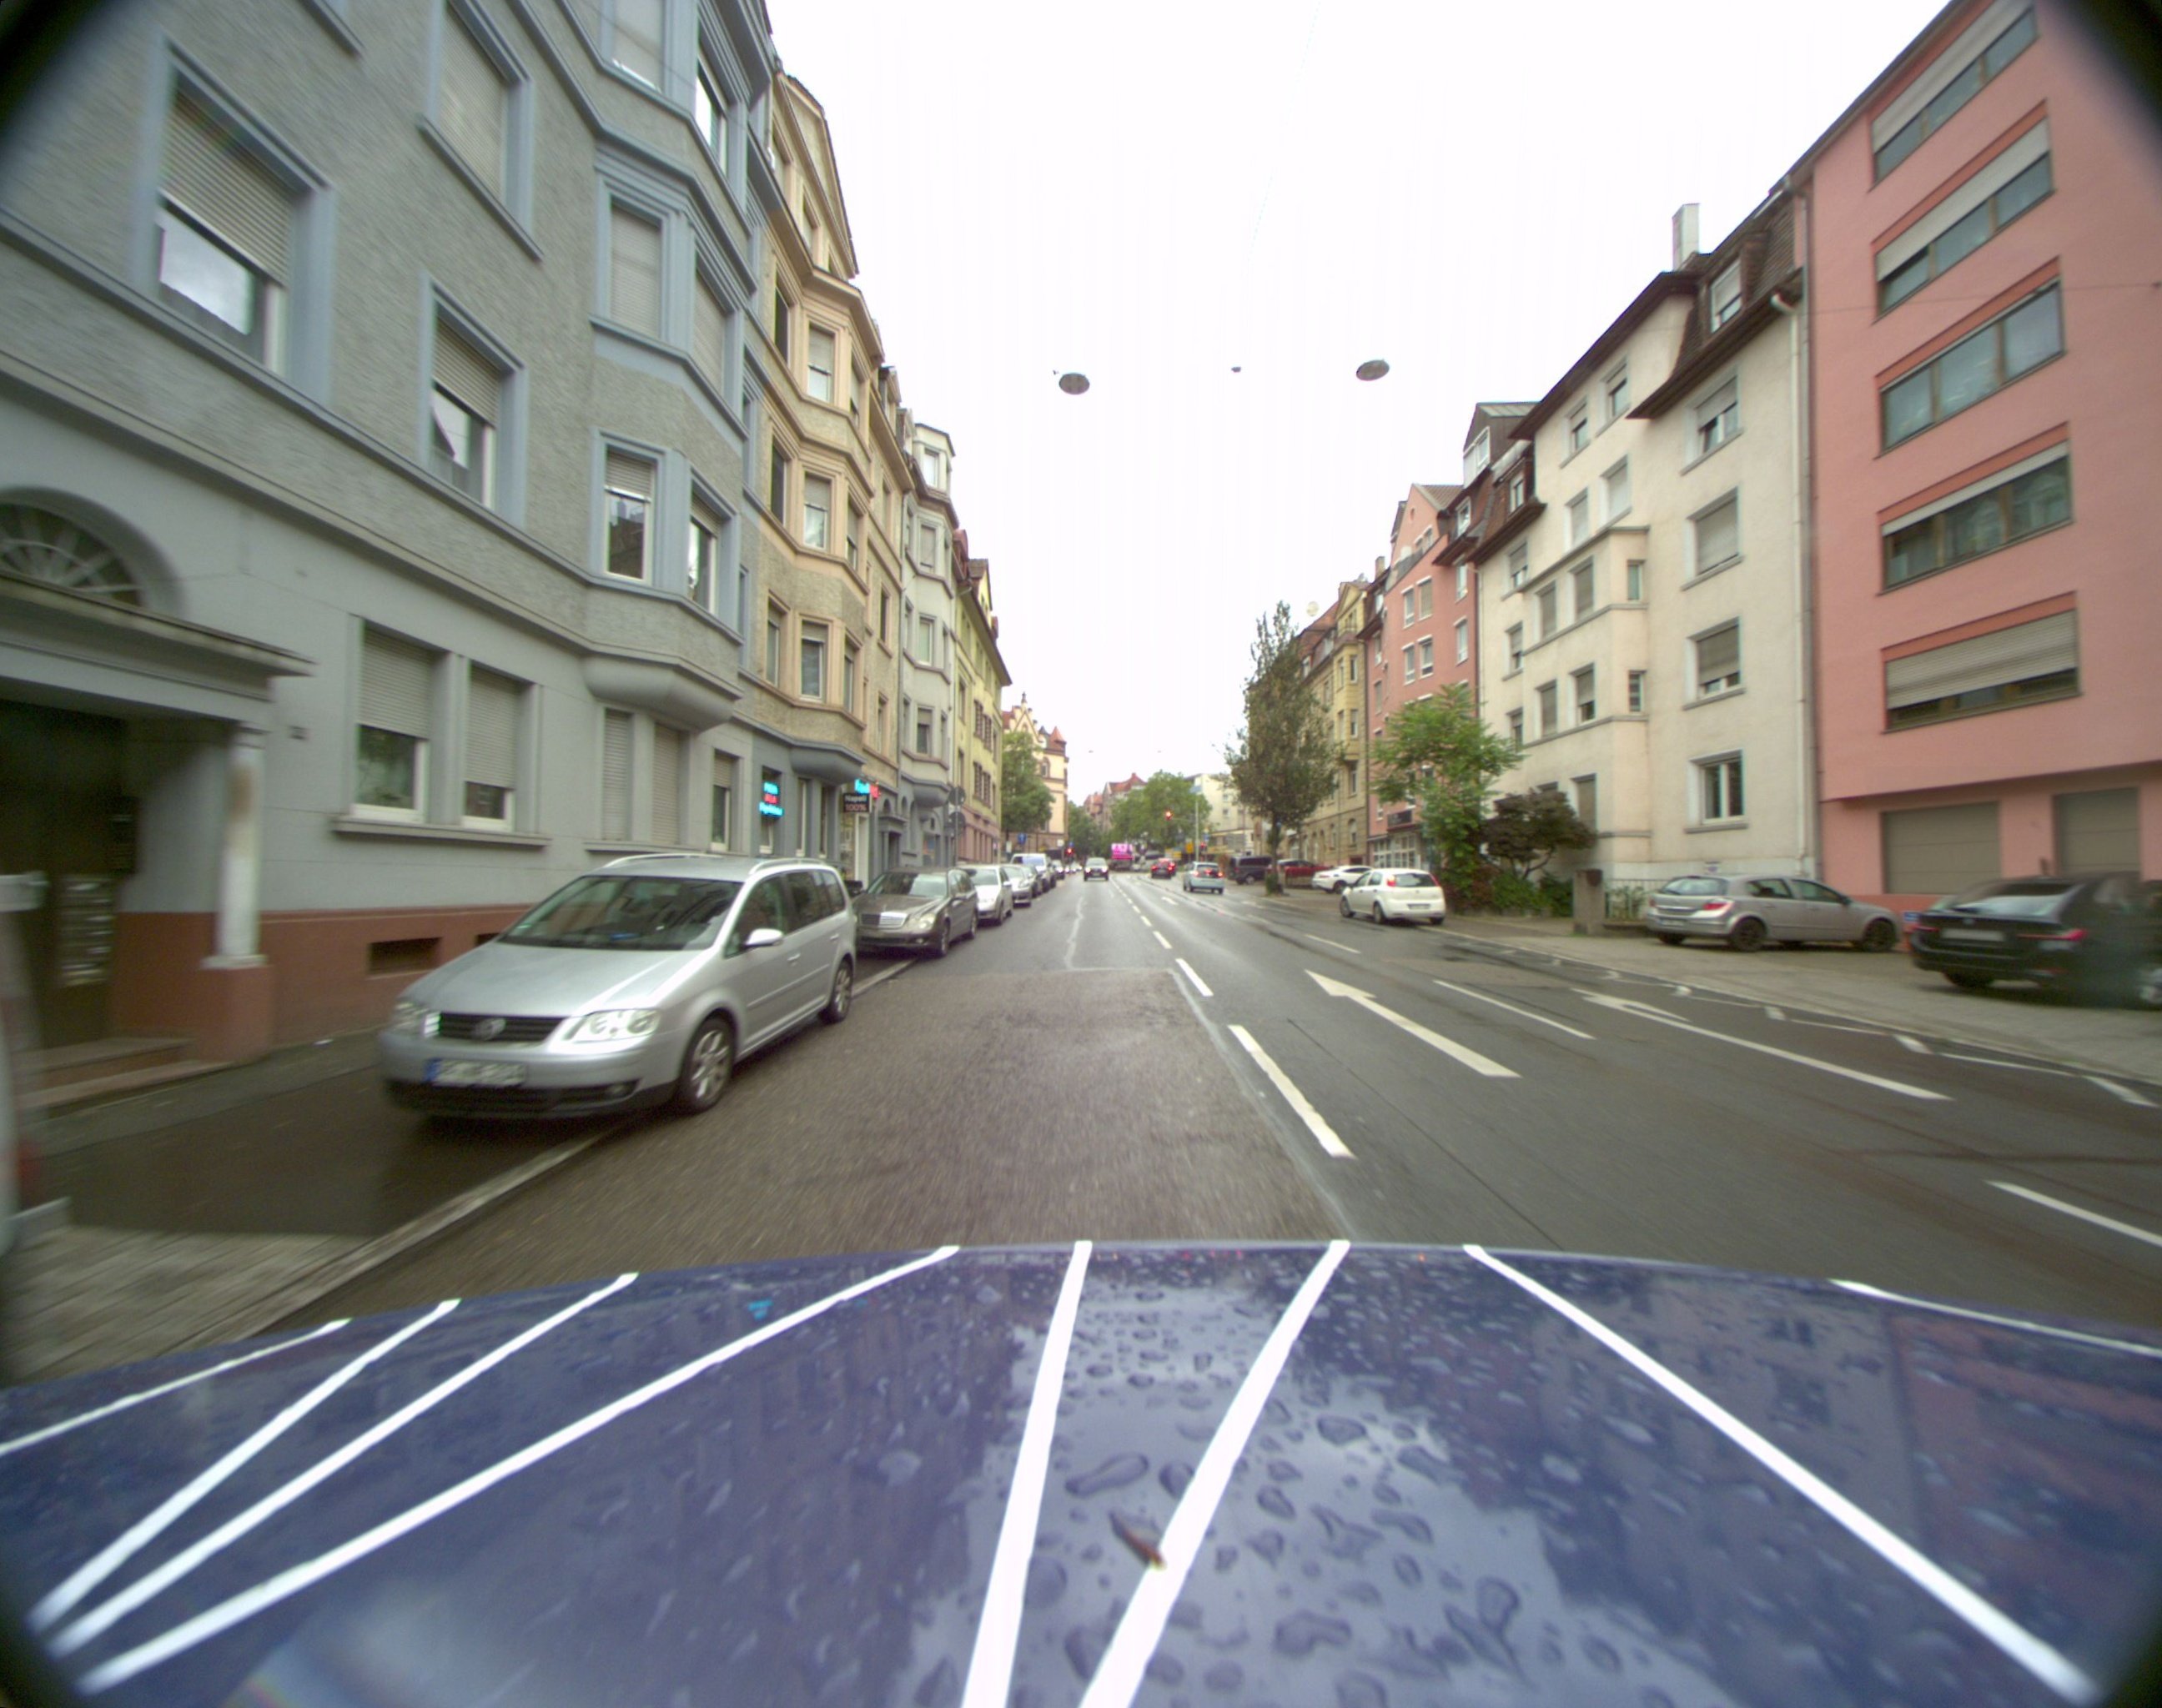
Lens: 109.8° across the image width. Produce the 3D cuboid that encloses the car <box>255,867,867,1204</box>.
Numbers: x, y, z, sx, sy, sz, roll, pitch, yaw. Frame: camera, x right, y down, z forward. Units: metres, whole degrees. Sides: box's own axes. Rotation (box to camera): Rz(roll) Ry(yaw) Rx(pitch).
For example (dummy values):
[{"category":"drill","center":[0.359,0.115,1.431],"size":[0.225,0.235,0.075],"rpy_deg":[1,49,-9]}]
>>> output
[{"category":"car","center":[-3.216,0.942,5.956],"size":[1.731,1.588,4.312],"rpy_deg":[1,0,1]}]

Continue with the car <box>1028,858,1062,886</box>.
[{"category":"car","center":[-1.980,0.985,43.170],"size":[1.627,1.498,3.746],"rpy_deg":[1,0,1]}]

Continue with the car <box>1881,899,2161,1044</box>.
[{"category":"car","center":[12.382,1.312,9.034],"size":[3.929,1.389,1.759],"rpy_deg":[-1,0,-1]}]

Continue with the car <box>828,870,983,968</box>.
[{"category":"car","center":[-3.028,1.060,14.063],"size":[1.731,1.433,4.359],"rpy_deg":[1,0,1]}]

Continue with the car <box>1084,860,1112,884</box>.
[{"category":"car","center":[1.231,1.293,56.036],"size":[1.889,1.543,3.999],"rpy_deg":[-2,0,-1]}]

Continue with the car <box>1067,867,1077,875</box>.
[{"category":"car","center":[-1.445,2.881,130.066],"size":[1.552,1.386,3.746],"rpy_deg":[1,0,1]}]

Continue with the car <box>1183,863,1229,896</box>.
[{"category":"car","center":[6.313,1.245,38.788],"size":[1.771,1.540,3.653],"rpy_deg":[-1,0,1]}]

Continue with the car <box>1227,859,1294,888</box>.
[{"category":"car","center":[11.835,1.274,50.281],"size":[3.929,1.836,1.867],"rpy_deg":[1,0,-1]}]

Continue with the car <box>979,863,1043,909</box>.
[{"category":"car","center":[-2.349,1.042,26.266],"size":[1.709,1.388,3.933],"rpy_deg":[-2,0,1]}]

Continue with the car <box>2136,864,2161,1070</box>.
[{"category":"car","center":[12.316,1.019,6.229],"size":[4.731,1.893,1.918],"rpy_deg":[-1,1,-1]}]

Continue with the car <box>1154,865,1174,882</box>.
[{"category":"car","center":[7.319,1.706,67.137],"size":[1.669,1.448,3.654],"rpy_deg":[-1,0,4]}]

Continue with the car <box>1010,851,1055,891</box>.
[{"category":"car","center":[-2.342,0.813,37.908],"size":[1.826,1.808,4.520],"rpy_deg":[1,0,1]}]

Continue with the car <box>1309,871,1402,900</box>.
[{"category":"car","center":[13.376,1.513,37.182],"size":[3.928,1.289,1.646],"rpy_deg":[1,0,2]}]

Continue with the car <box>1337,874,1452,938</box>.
[{"category":"car","center":[8.507,1.356,20.933],"size":[1.669,1.463,3.652],"rpy_deg":[-1,0,0]}]

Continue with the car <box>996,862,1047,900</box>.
[{"category":"car","center":[-2.412,1.086,31.813],"size":[1.709,1.433,3.933],"rpy_deg":[1,0,1]}]

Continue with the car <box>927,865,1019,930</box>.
[{"category":"car","center":[-2.666,1.040,19.618],"size":[1.709,1.433,3.933],"rpy_deg":[1,0,1]}]

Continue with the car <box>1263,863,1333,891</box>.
[{"category":"car","center":[13.711,1.428,48.105],"size":[3.928,1.612,1.593],"rpy_deg":[1,0,2]}]

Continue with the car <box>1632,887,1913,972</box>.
[{"category":"car","center":[13.032,1.397,14.464],"size":[3.931,1.389,1.725],"rpy_deg":[1,0,-5]}]

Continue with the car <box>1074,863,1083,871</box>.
[{"category":"car","center":[-0.449,2.547,145.822],"size":[1.552,1.386,3.746],"rpy_deg":[1,0,1]}]
